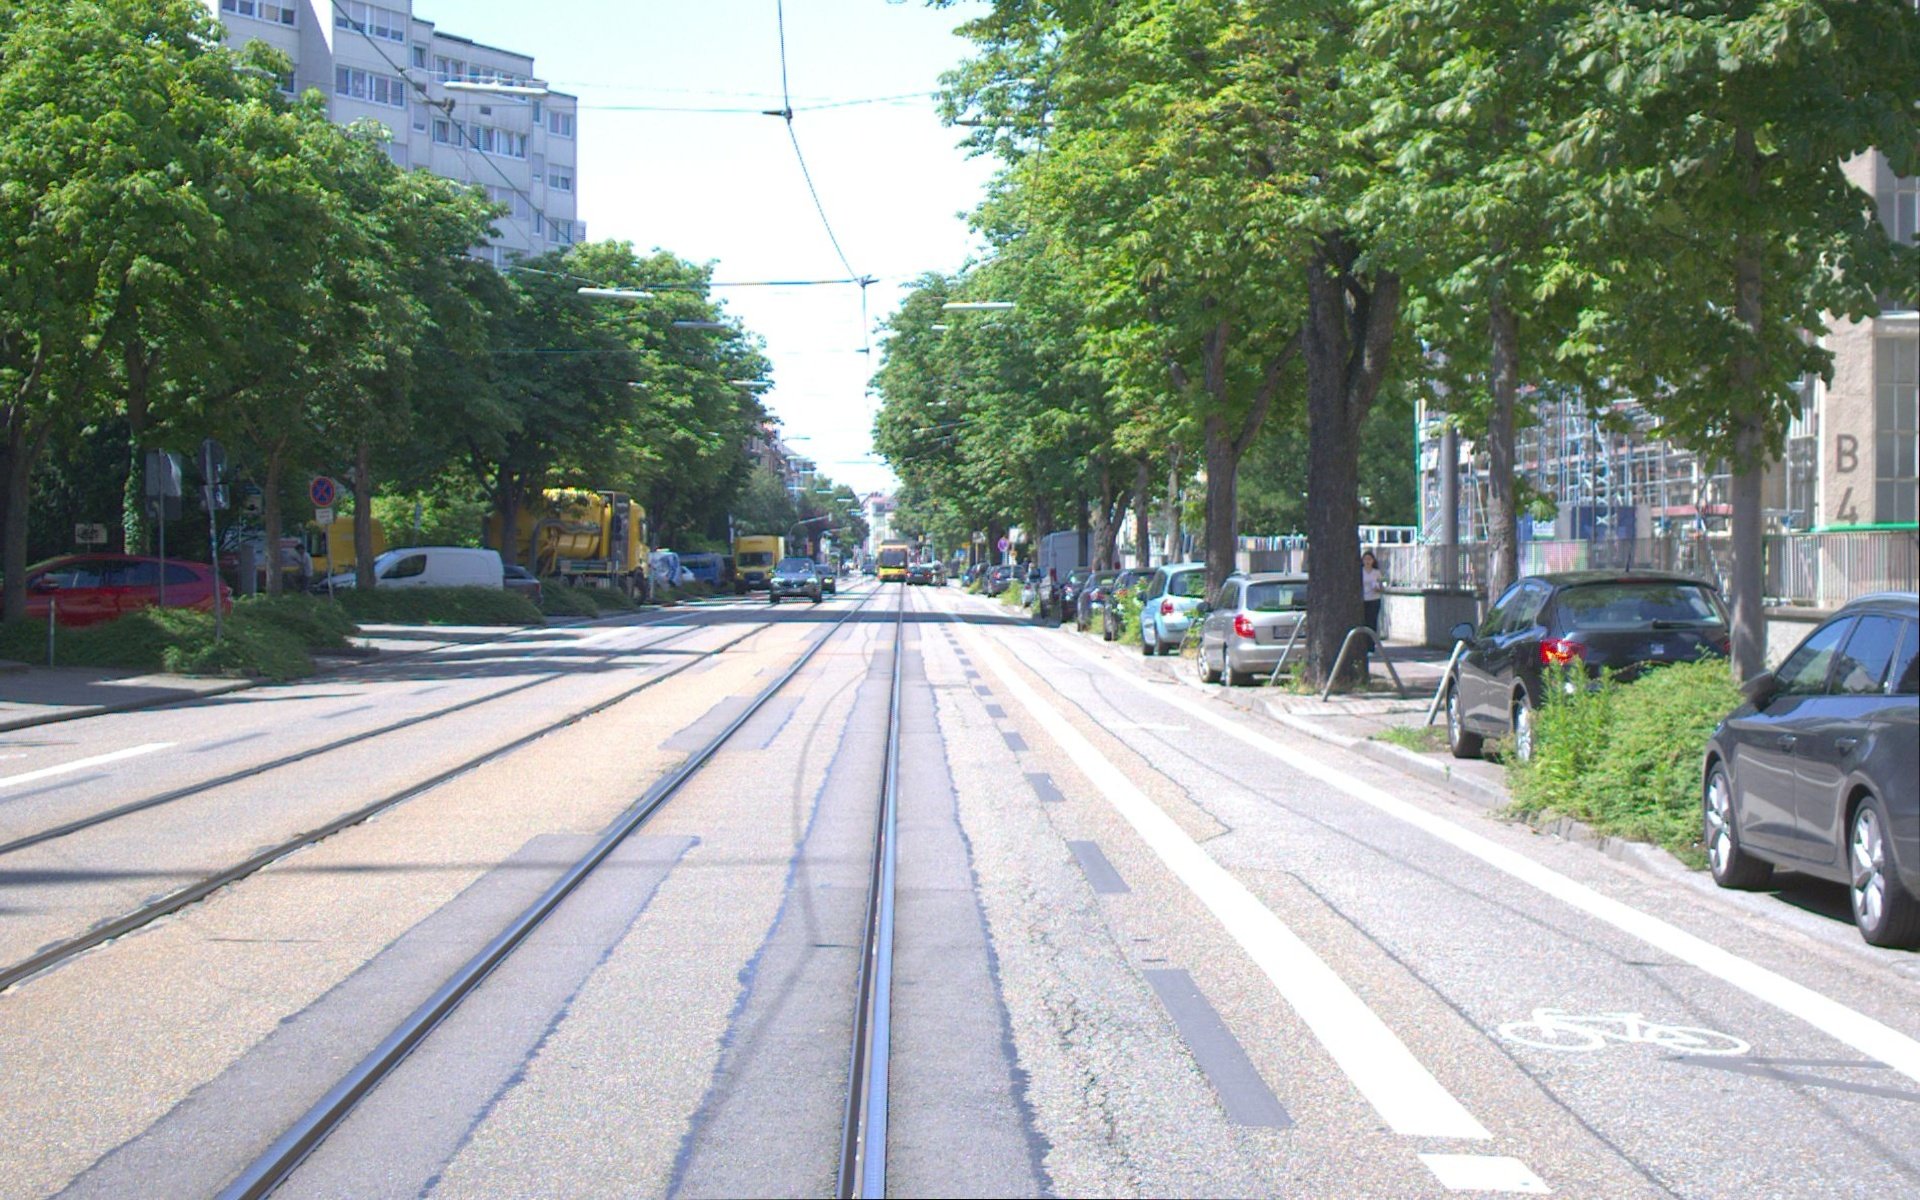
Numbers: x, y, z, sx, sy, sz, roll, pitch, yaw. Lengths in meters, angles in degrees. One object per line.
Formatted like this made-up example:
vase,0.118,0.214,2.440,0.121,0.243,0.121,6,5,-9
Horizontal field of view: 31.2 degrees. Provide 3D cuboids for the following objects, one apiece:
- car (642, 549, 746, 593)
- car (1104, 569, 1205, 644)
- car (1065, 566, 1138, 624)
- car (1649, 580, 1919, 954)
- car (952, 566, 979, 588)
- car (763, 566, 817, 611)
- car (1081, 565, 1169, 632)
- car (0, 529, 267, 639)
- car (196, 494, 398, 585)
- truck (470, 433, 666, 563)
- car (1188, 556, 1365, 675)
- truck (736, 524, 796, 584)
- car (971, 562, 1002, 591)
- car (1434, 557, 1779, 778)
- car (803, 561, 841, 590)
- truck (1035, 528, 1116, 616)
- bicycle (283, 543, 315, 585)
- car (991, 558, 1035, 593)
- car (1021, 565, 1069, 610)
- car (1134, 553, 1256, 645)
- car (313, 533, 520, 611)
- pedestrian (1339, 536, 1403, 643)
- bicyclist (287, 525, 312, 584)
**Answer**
car,-13.033,-1.438,168.566,4.749,2.055,2.026,-2,1,-39
car,3.824,0.109,68.129,1.671,1.433,4.042,0,1,-2
car,3.648,-0.154,89.106,1.824,1.466,4.400,0,1,2
car,4.454,0.629,15.352,1.671,1.403,4.749,0,1,-2
car,0.332,-1.561,231.860,1.710,1.418,4.310,-1,0,-1
car,-6.382,-0.441,129.360,1.831,1.675,4.185,0,1,-1
car,3.730,-0.047,78.191,1.824,1.466,4.486,0,1,1
car,-12.861,-0.235,50.746,4.764,1.561,2.002,0,1,-29
car,-20.098,-1.802,104.642,2.182,2.557,6.713,0,-1,29
truck,-12.723,-3.254,112.723,2.717,3.829,10.957,1,0,13
car,4.143,0.170,45.586,1.671,1.494,4.366,0,1,-4
truck,-9.491,-2.242,168.978,2.360,2.843,7.378,-1,1,1
car,1.481,-1.329,194.249,1.592,1.611,3.908,-1,0,-1
car,4.633,0.430,25.164,1.671,1.484,3.981,0,1,-2
car,-6.833,-1.245,170.440,1.774,1.392,4.287,-1,1,-1
truck,3.313,-0.815,99.674,2.014,2.480,5.956,0,1,-1
bicycle,-16.834,-0.917,87.567,0.518,1.043,1.876,1,1,-3
car,2.359,-1.084,153.218,1.639,1.480,3.873,-1,0,-4
car,2.936,-0.444,119.375,1.644,1.529,3.785,0,1,1
car,3.960,-0.038,58.507,1.671,1.512,4.202,0,1,-2
car,-13.136,-0.677,83.220,4.534,1.785,1.901,1,1,-33
pedestrian,6.259,-0.163,52.356,0.799,1.583,0.919,-1,1,-2
bicyclist,-16.824,-1.162,87.563,0.480,1.476,0.781,1,0,-3
